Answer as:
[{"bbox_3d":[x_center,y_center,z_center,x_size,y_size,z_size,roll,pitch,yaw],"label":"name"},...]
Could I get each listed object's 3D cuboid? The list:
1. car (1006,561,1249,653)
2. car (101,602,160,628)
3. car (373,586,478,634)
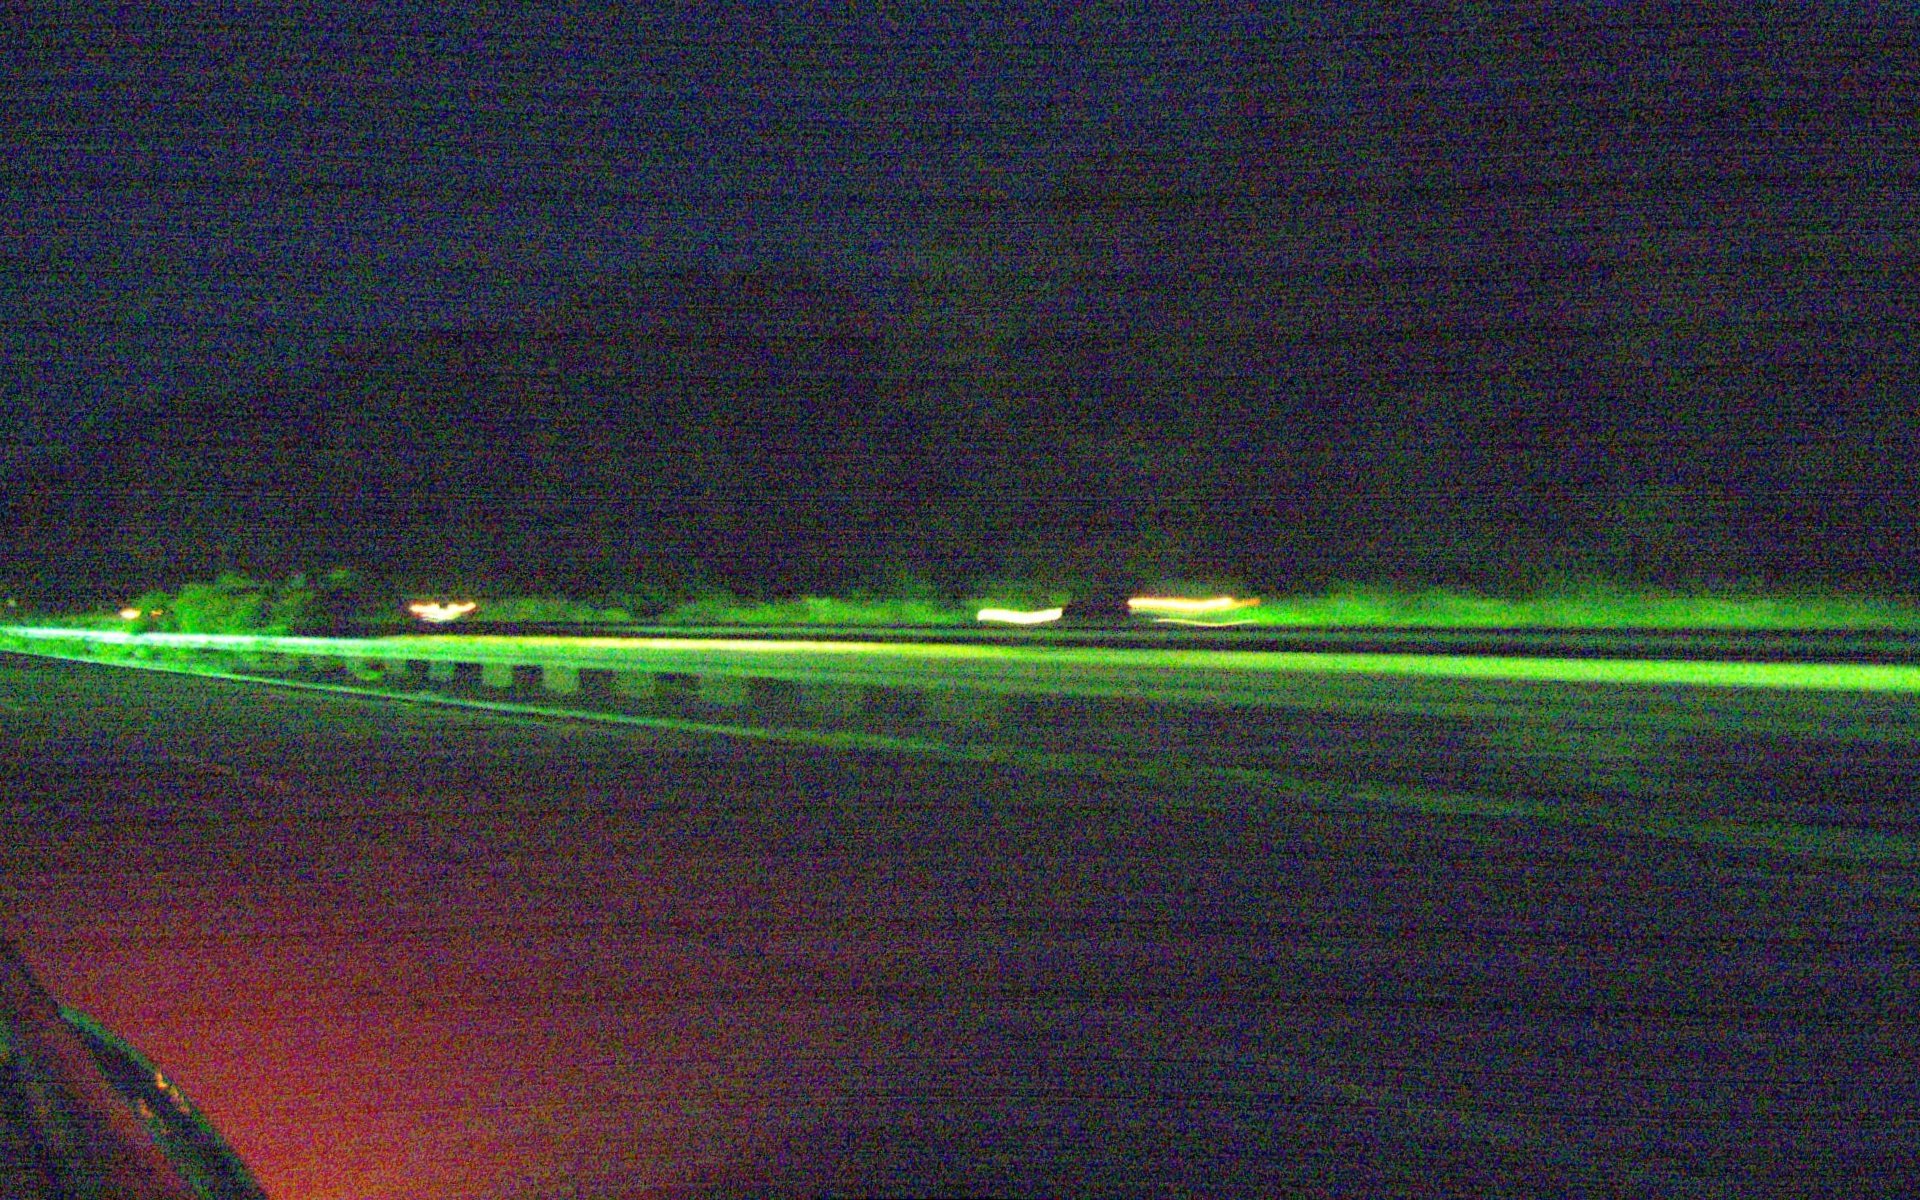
[{"bbox_3d":[3.064,0.128,18.936,4.152,1.528,1.712,-1,1,38],"label":"car"},{"bbox_3d":[-50.028,0.907,61.006,4.333,1.468,1.938,-1,1,40],"label":"car"},{"bbox_3d":[-19.397,0.357,36.684,3.995,1.526,1.843,0,4,39],"label":"car"}]
